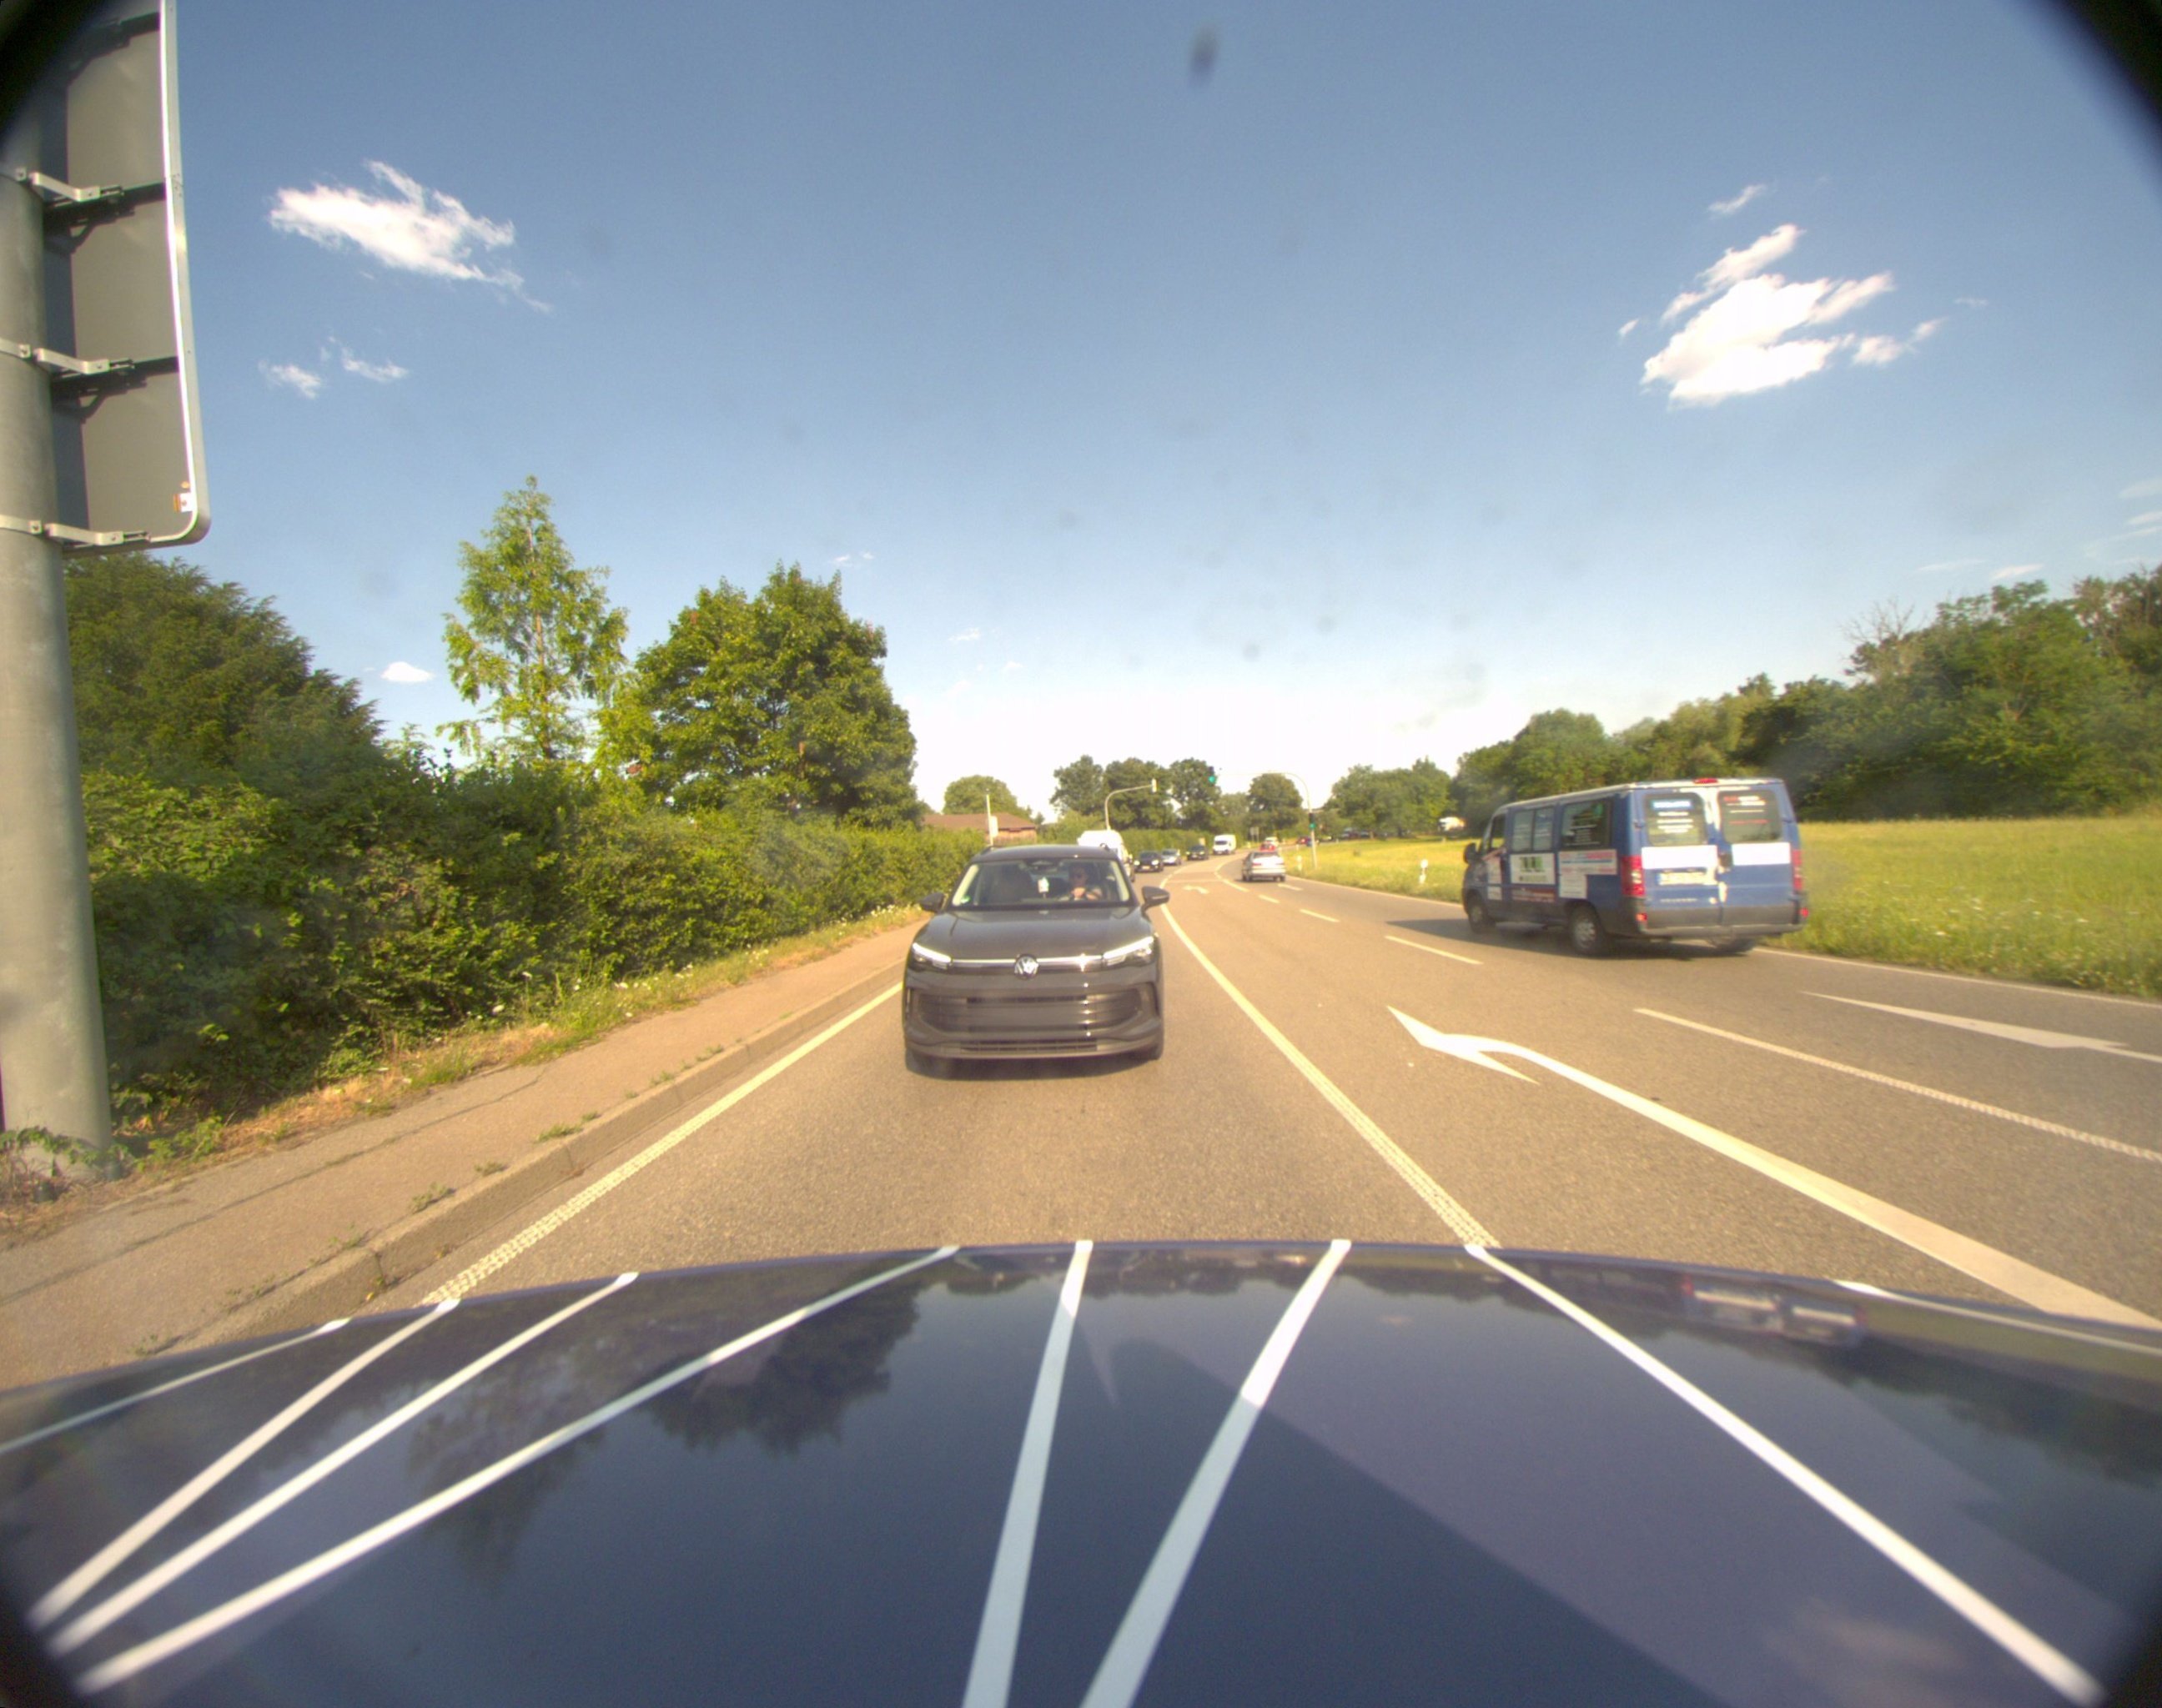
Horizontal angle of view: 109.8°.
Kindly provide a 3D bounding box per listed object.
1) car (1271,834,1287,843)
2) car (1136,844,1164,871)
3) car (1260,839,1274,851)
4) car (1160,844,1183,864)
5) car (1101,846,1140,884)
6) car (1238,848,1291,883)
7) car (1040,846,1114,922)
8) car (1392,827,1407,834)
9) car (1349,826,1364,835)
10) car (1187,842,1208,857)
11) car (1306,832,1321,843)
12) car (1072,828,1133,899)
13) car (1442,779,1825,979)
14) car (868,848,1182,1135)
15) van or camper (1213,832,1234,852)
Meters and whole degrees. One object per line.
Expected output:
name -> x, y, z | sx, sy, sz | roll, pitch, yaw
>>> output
car -> 33.630, -2.629, 128.976 | 1.671, 1.471, 3.500 | -4, 1, 32
car -> 4.792, 0.232, 52.515 | 1.672, 1.718, 3.669 | 0, 2, 9
car -> 24.017, -1.156, 97.877 | 1.587, 1.458, 3.611 | -1, 0, 16
car -> 7.809, -0.027, 65.576 | 1.633, 1.550, 3.419 | -1, 2, 13
car -> 1.964, 0.499, 37.241 | 1.693, 1.718, 3.669 | -1, 1, 6
car -> 8.373, 0.475, 35.034 | 1.710, 1.420, 4.179 | -3, 0, 5
car -> -0.036, 0.670, 19.287 | 1.659, 1.720, 3.804 | -1, 1, 2
car -> 78.943, -5.809, 188.474 | 4.339, 1.577, 1.881 | -1, 1, -44
car -> 60.185, -5.066, 165.855 | 1.881, 1.765, 4.330 | -1, 1, 37
car -> 12.269, -0.477, 79.862 | 1.605, 1.471, 3.621 | 0, 1, 19
car -> 41.119, -2.951, 134.360 | 1.726, 1.871, 4.343 | -1, 0, 26
car -> 0.877, 0.302, 27.508 | 1.843, 2.338, 4.791 | -1, 0, 6
car -> 7.228, 0.263, 10.768 | 2.003, 2.124, 4.779 | -3, 0, 2
car -> -0.336, 0.823, 6.601 | 1.866, 1.633, 3.999 | -1, 2, 0
van or camper -> 18.788, -1.610, 99.803 | 2.031, 2.461, 5.082 | -4, 0, 17
